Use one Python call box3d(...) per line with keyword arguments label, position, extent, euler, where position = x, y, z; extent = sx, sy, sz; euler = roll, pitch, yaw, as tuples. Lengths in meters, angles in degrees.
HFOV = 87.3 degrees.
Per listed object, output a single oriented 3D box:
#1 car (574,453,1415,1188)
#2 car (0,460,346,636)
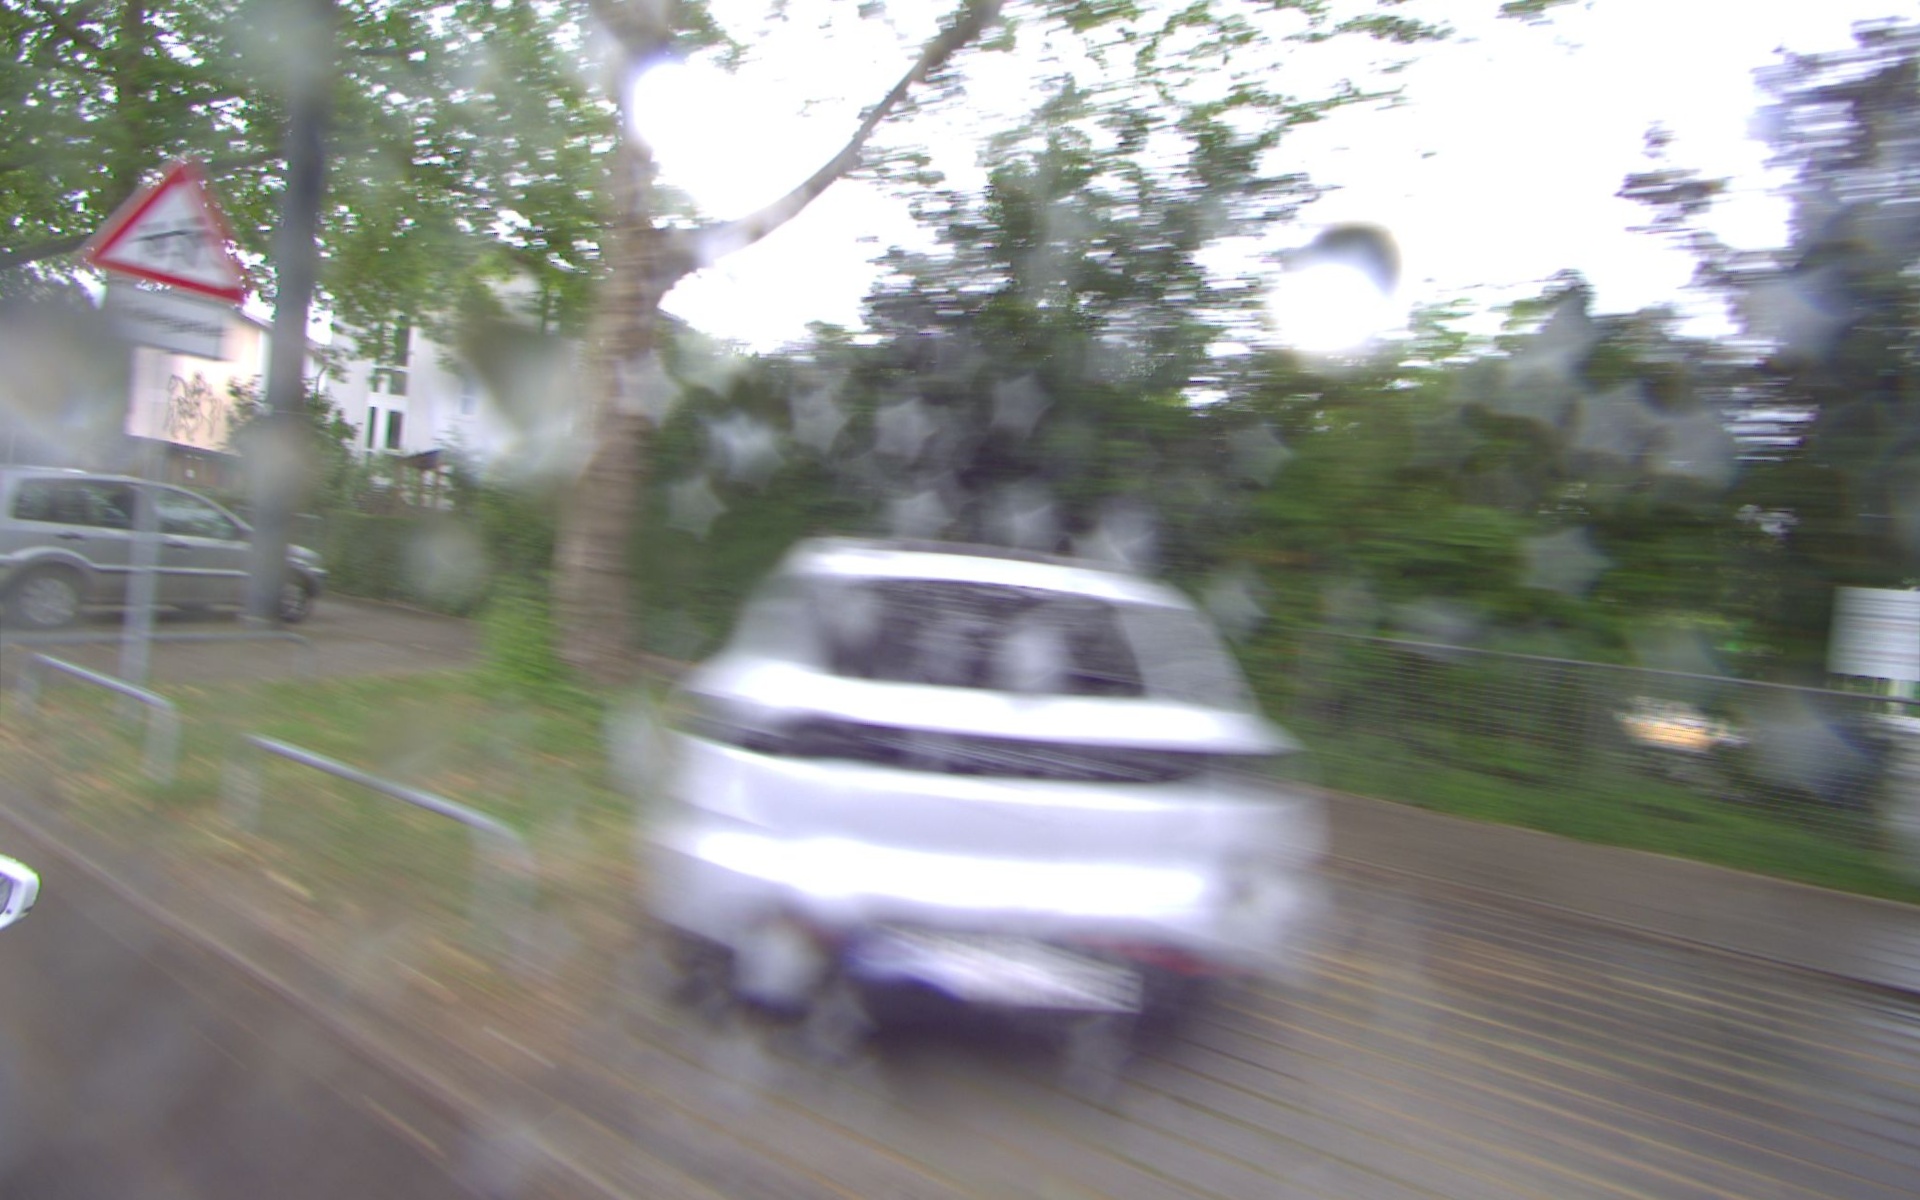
box3d(label="car", position=(-0.070, 0.540, 4.901), extent=(1.959, 1.690, 4.769), euler=(6, 1, -4))
box3d(label="car", position=(-8.969, -0.557, 10.826), extent=(1.589, 1.587, 3.863), euler=(7, 2, 18))
